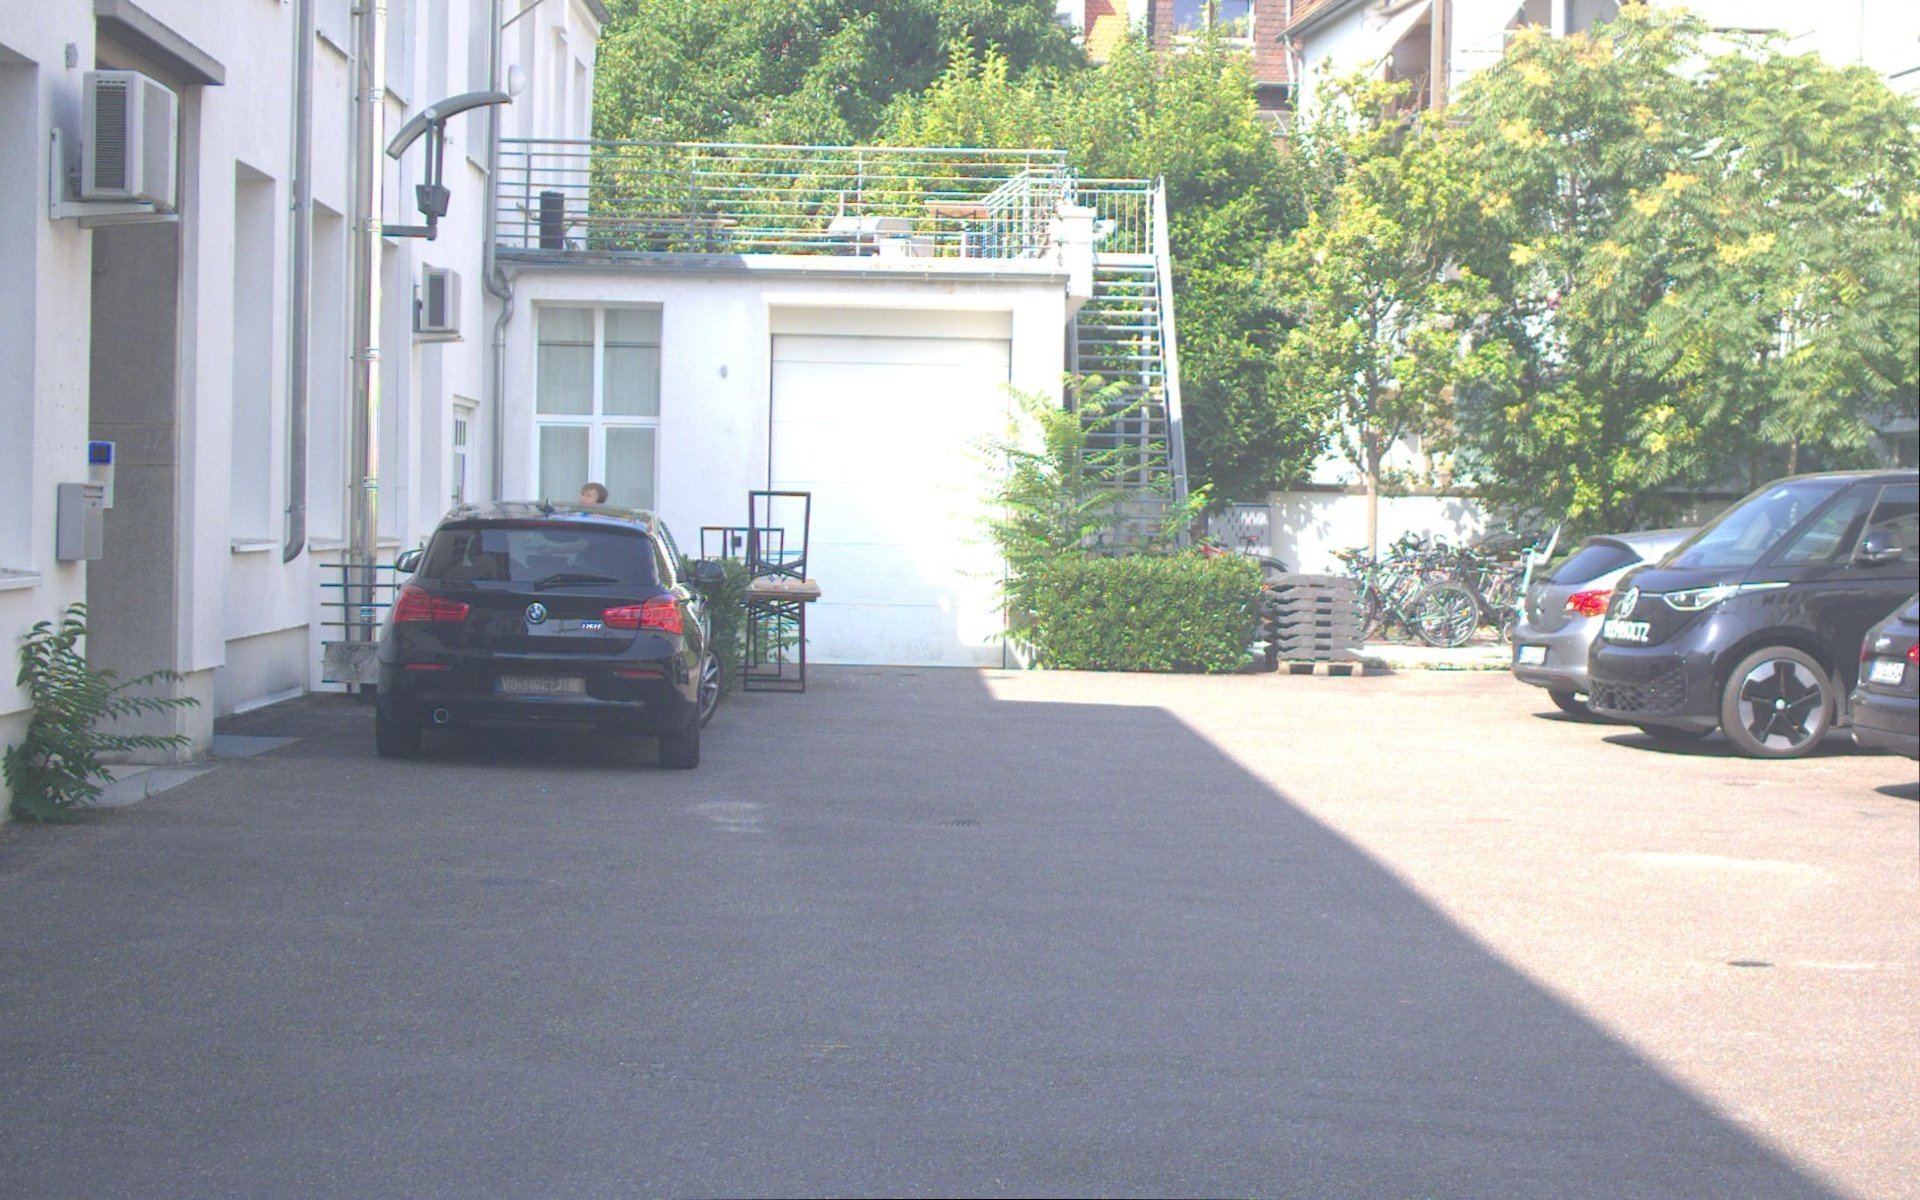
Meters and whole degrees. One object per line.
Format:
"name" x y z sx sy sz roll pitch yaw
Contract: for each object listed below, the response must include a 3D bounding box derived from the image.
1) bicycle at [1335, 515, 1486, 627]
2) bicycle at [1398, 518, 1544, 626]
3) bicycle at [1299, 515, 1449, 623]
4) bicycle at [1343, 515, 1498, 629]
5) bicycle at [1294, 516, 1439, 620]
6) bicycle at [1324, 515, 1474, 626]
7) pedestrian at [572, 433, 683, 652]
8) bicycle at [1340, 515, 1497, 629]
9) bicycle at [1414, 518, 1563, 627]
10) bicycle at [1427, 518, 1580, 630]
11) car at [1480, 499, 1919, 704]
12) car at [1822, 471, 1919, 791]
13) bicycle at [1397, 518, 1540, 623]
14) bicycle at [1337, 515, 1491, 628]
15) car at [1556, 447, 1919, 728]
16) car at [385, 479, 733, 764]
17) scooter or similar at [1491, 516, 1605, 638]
"bicycle" 4.953 -0.321 37.788 1.624 1.210 0.327 0 2 9
"bicycle" 5.816 -0.328 39.131 1.624 1.210 0.424 0 2 12
"bicycle" 4.671 -0.349 38.828 1.623 1.210 0.424 0 2 -1
"bicycle" 4.957 -0.305 37.044 1.623 1.210 0.327 0 2 1
"bicycle" 4.732 -0.374 40.065 1.623 1.210 0.424 0 2 -5
"bicycle" 4.869 -0.330 38.152 1.624 1.210 0.327 0 2 12
"pedestrian" -3.103 -0.539 32.202 0.913 2.007 0.935 1 1 0
"bicycle" 4.895 -0.299 36.722 1.623 1.210 0.327 0 2 1
"bicycle" 5.926 -0.314 38.555 1.624 1.210 0.424 0 2 12
"bicycle" 5.958 -0.295 37.696 1.624 1.210 0.327 1 2 14
"car" 6.120 0.009 26.042 3.931 1.477 1.775 0 1 -10
"car" 7.077 0.191 18.961 4.116 1.686 1.771 1 1 -3
"bicycle" 5.944 -0.347 40.158 1.624 1.210 0.424 0 2 12
"bicycle" 4.924 -0.312 37.338 1.623 1.210 0.327 0 2 1
"car" 6.499 -0.079 23.156 4.499 1.788 1.884 0 1 -10
"car" -2.227 0.070 19.956 1.688 1.454 3.923 1 1 -2
"scooter or similar" 6.231 -0.256 36.486 0.378 1.256 1.349 -1 2 -33
